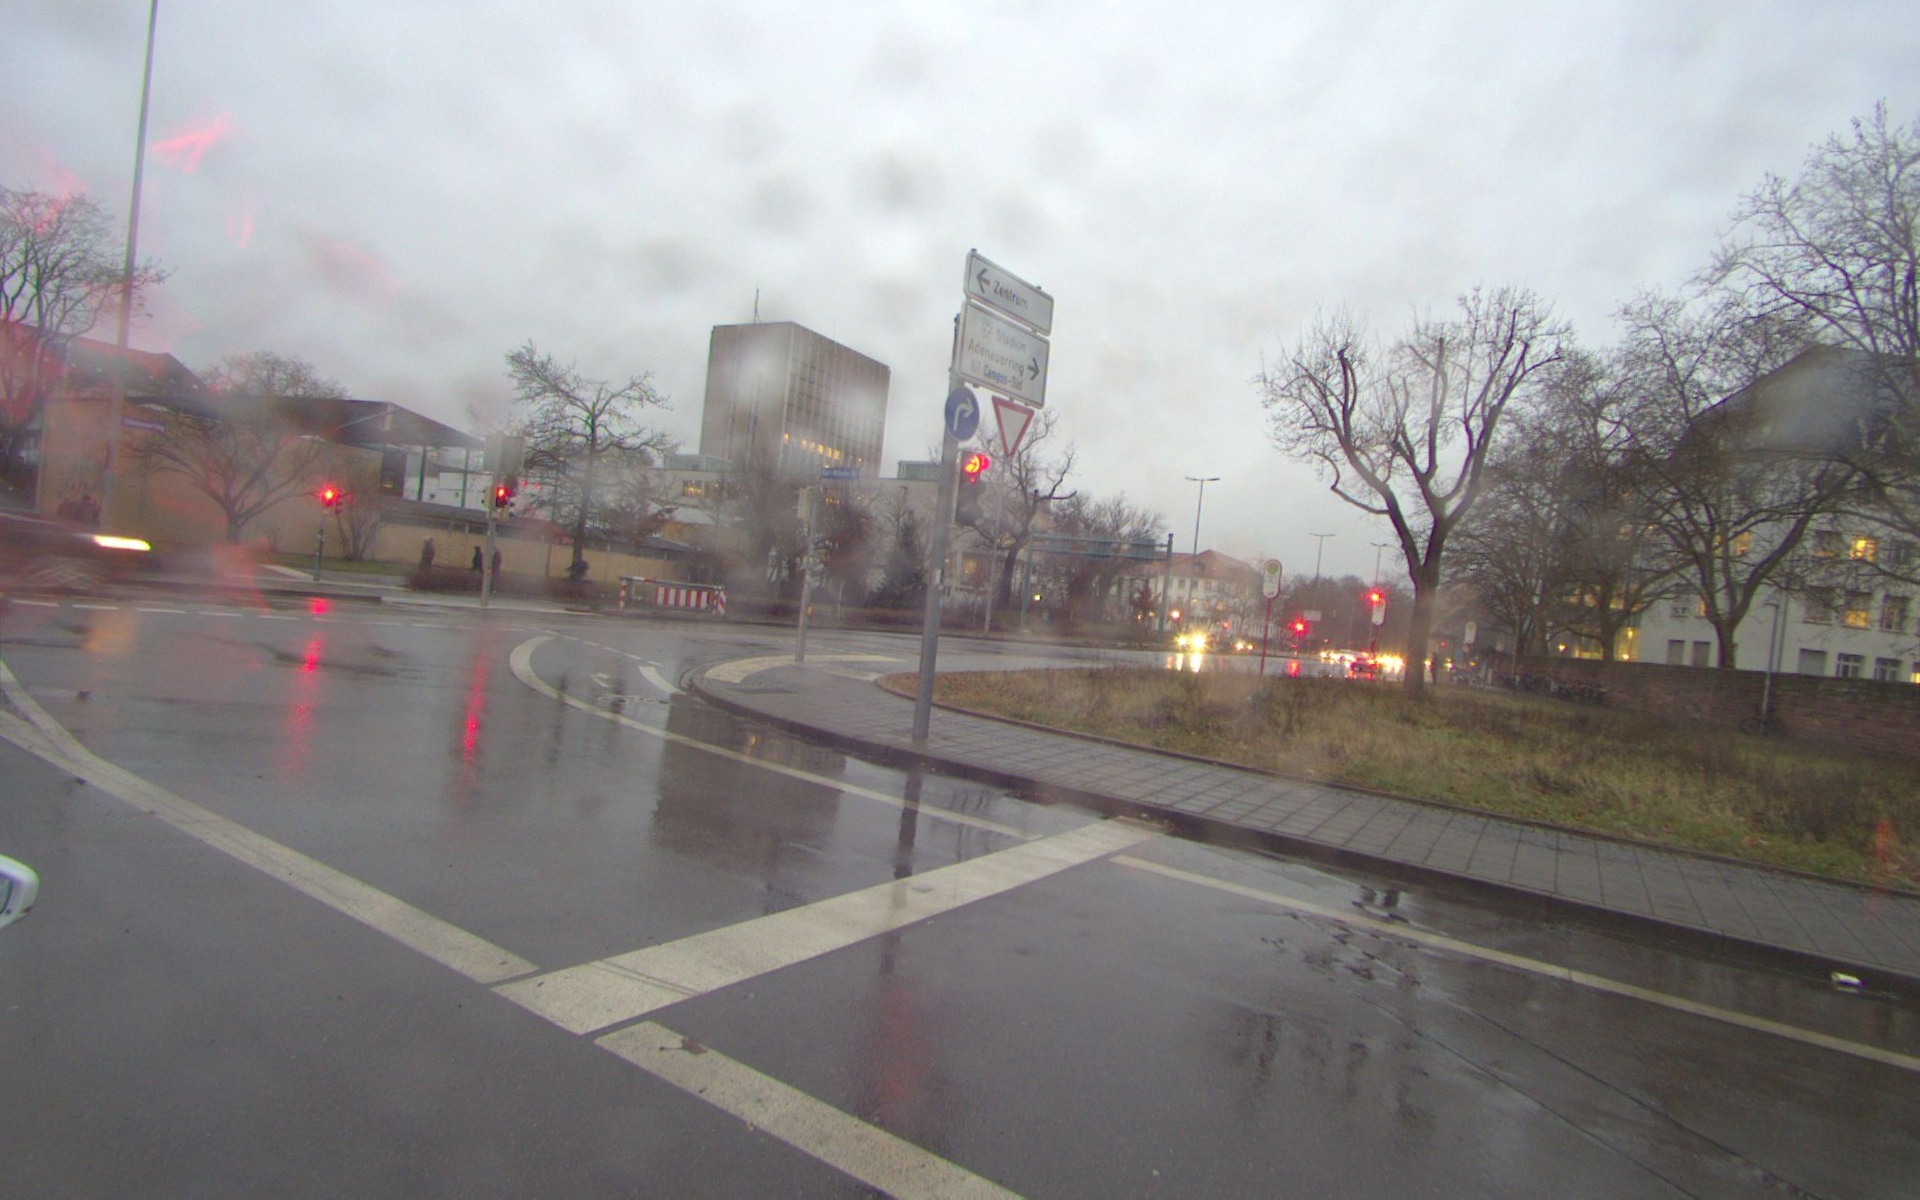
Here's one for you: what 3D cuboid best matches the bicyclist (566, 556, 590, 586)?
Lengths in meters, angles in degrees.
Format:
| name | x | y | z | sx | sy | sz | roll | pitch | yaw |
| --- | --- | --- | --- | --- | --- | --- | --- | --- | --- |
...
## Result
| name | x | y | z | sx | sy | sz | roll | pitch | yaw |
| --- | --- | --- | --- | --- | --- | --- | --- | --- | --- |
| bicyclist | -17.391 | -1.331 | 45.840 | 0.599 | 1.261 | 0.697 | 5 | -2 | 40 |

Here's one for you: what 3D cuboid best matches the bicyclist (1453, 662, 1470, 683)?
| name | x | y | z | sx | sy | sz | roll | pitch | yaw |
| --- | --- | --- | --- | --- | --- | --- | --- | --- | --- |
| bicyclist | 27.192 | 3.936 | 54.524 | 0.690 | 1.092 | 0.494 | 5 | -1 | 32 |

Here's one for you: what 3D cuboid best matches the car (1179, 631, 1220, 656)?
| name | x | y | z | sx | sy | sz | roll | pitch | yaw |
| --- | --- | --- | --- | --- | --- | --- | --- | --- | --- |
| car | 19.881 | 3.644 | 83.471 | 1.720 | 1.670 | 4.237 | 5 | -3 | 35 |

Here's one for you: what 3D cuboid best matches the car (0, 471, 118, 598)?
| name | x | y | z | sx | sy | sz | roll | pitch | yaw |
| --- | --- | --- | --- | --- | --- | --- | --- | --- | --- |
| car | -15.066 | -1.132 | 14.623 | 1.737 | 1.703 | 4.059 | 4 | -3 | 43 |

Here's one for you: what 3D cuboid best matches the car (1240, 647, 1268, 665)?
| name | x | y | z | sx | sy | sz | roll | pitch | yaw |
| --- | --- | --- | --- | --- | --- | --- | --- | --- | --- |
| car | 31.995 | 6.117 | 109.272 | 1.720 | 1.670 | 3.635 | 5 | -3 | 35 |

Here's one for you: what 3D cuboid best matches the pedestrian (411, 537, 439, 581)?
| name | x | y | z | sx | sy | sz | roll | pitch | yaw |
| --- | --- | --- | --- | --- | --- | --- | --- | --- | --- |
| pedestrian | -22.432 | -1.719 | 42.157 | 0.749 | 1.745 | 0.623 | 5 | -1 | 38 |

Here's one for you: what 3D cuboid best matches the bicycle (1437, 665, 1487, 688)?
| name | x | y | z | sx | sy | sz | roll | pitch | yaw |
| --- | --- | --- | --- | --- | --- | --- | --- | --- | --- |
| bicycle | 27.496 | 4.177 | 55.120 | 2.373 | 1.003 | 0.537 | 5 | -2 | 31 |

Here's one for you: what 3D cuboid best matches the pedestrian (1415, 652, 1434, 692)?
| name | x | y | z | sx | sy | sz | roll | pitch | yaw |
| --- | --- | --- | --- | --- | --- | --- | --- | --- | --- |
| pedestrian | 22.409 | 3.466 | 48.560 | 0.633 | 1.857 | 0.836 | 5 | -1 | 23 |

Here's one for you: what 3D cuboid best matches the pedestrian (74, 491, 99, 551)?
| name | x | y | z | sx | sy | sz | roll | pitch | yaw |
| --- | --- | --- | --- | --- | --- | --- | --- | --- | --- |
| pedestrian | -28.458 | -2.565 | 32.764 | 0.456 | 1.860 | 0.434 | 7 | -1 | -41 |

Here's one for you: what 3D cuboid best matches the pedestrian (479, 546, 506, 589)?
| name | x | y | z | sx | sy | sz | roll | pitch | yaw |
| --- | --- | --- | --- | --- | --- | --- | --- | --- | --- |
| pedestrian | -20.213 | -1.413 | 43.479 | 0.749 | 1.745 | 0.623 | 5 | -1 | 38 |

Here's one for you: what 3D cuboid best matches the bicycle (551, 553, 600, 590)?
| name | x | y | z | sx | sy | sz | roll | pitch | yaw |
| --- | --- | --- | --- | --- | --- | --- | --- | --- | --- |
| bicycle | -17.485 | -1.269 | 45.761 | 0.584 | 1.439 | 1.922 | 5 | -2 | 40 |

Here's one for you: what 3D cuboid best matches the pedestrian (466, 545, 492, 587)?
| name | x | y | z | sx | sy | sz | roll | pitch | yaw |
| --- | --- | --- | --- | --- | --- | --- | --- | --- | --- |
| pedestrian | -20.995 | -1.477 | 43.895 | 0.749 | 1.745 | 0.623 | 5 | -1 | 38 |

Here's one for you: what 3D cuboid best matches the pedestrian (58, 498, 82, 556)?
| name | x | y | z | sx | sy | sz | roll | pitch | yaw |
| --- | --- | --- | --- | --- | --- | --- | --- | --- | --- |
| pedestrian | -29.370 | -2.398 | 33.200 | 0.436 | 1.860 | 0.455 | 7 | -1 | -40 |

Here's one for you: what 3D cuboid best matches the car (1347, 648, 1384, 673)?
| name | x | y | z | sx | sy | sz | roll | pitch | yaw |
| --- | --- | --- | --- | --- | --- | --- | --- | --- | --- |
| car | 32.976 | 4.916 | 81.772 | 1.861 | 1.670 | 3.635 | 5 | -3 | 35 |

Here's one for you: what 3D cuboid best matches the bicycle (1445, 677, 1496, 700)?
| name | x | y | z | sx | sy | sz | roll | pitch | yaw |
| --- | --- | --- | --- | --- | --- | --- | --- | --- | --- |
| bicycle | 27.567 | 4.780 | 54.372 | 2.373 | 1.003 | 0.479 | 5 | -2 | 31 |

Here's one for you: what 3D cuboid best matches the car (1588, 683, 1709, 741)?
| name | x | y | z | sx | sy | sz | roll | pitch | yaw |
| --- | --- | --- | --- | --- | --- | --- | --- | --- | --- |
| car | 15.511 | 2.534 | 22.648 | 2.656 | 0.989 | 1.290 | 7 | 1 | -34 |

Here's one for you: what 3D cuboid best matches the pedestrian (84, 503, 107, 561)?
| name | x | y | z | sx | sy | sz | roll | pitch | yaw |
| --- | --- | --- | --- | --- | --- | --- | --- | --- | --- |
| pedestrian | -28.859 | -2.267 | 33.589 | 0.435 | 1.860 | 0.455 | 6 | -1 | -40 |
